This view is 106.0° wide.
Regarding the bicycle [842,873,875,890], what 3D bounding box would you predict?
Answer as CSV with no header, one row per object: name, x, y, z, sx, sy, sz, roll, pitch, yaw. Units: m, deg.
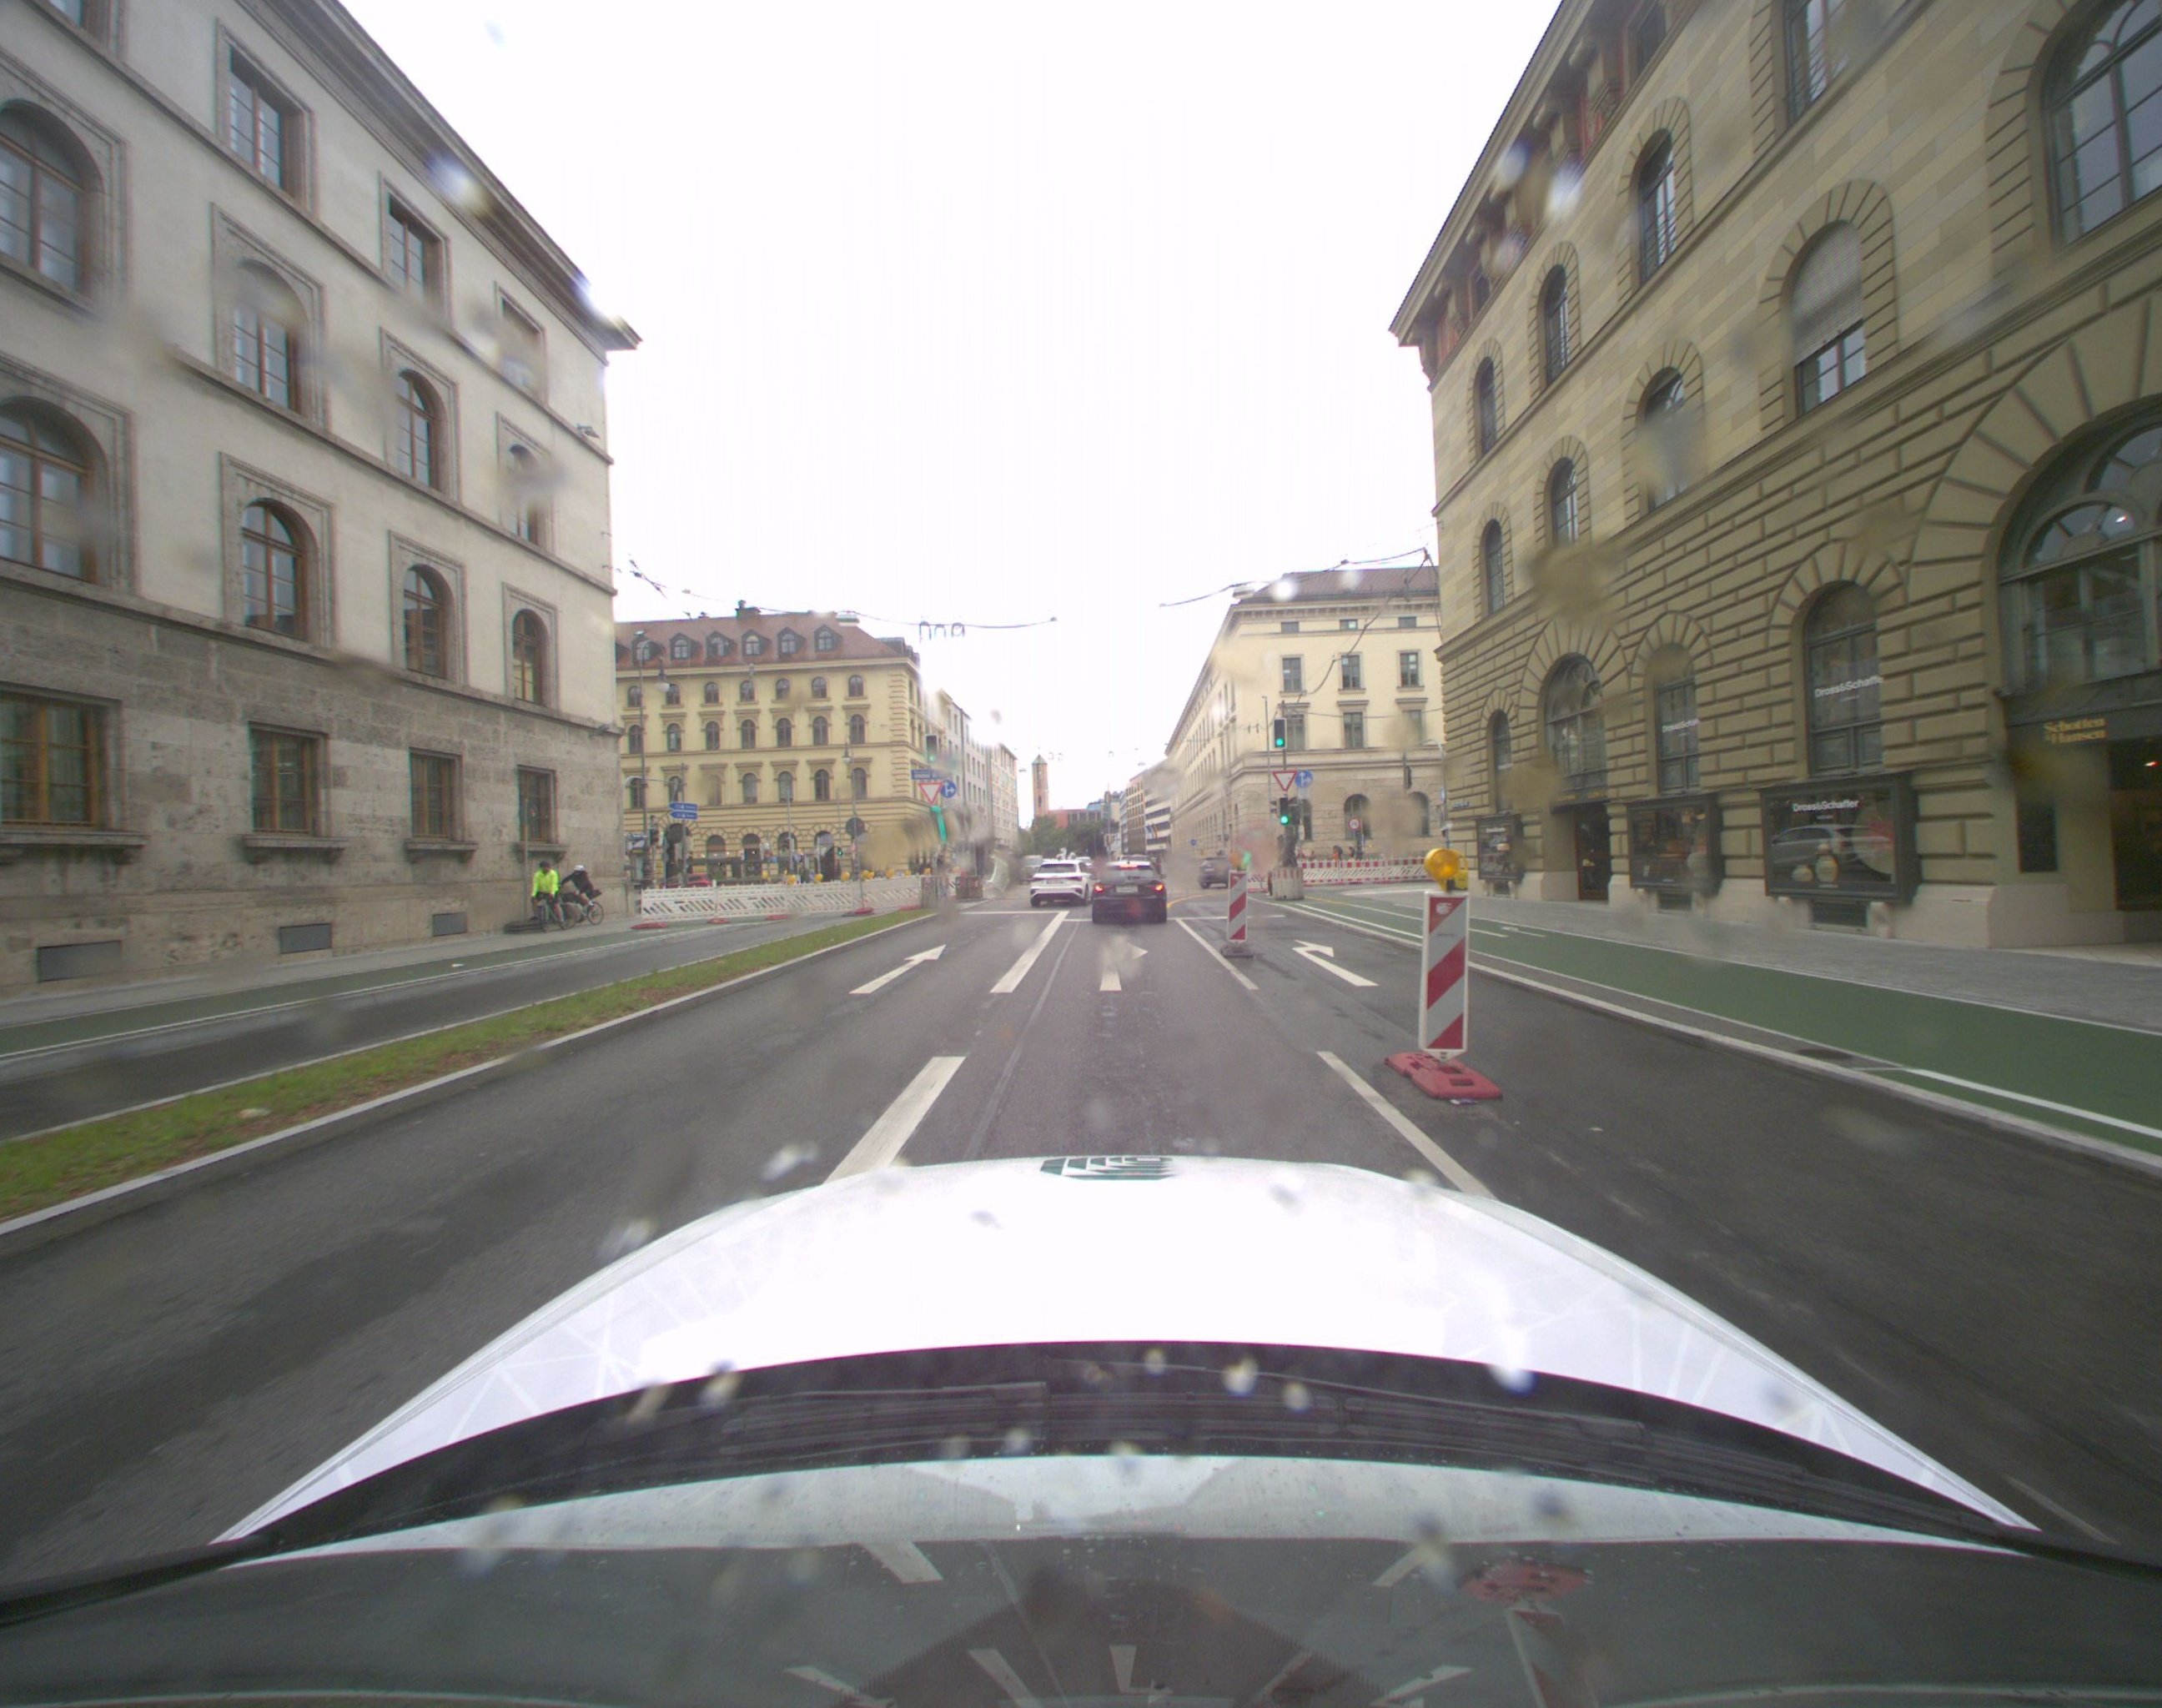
bicycle,-16.033,1.972,58.615,2.201,1.099,0.595,-2,-1,-23

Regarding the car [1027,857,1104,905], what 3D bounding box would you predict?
car,-0.409,0.820,26.604,1.803,1.424,4.462,-1,0,8

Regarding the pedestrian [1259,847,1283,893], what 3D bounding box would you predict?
pedestrian,6.613,0.547,28.357,0.699,1.567,0.585,-1,0,4

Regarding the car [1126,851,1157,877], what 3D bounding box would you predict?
car,4.019,0.666,54.420,1.858,1.601,3.852,-2,0,2

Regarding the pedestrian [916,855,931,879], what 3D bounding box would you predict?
pedestrian,-11.962,1.008,61.821,0.727,1.772,0.765,-1,0,23

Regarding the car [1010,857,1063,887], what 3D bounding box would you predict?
car,-2.785,1.105,52.348,1.980,1.734,4.604,-3,0,15

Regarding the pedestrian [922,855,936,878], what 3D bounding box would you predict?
pedestrian,-11.659,0.979,62.543,0.727,1.772,0.743,-1,0,23

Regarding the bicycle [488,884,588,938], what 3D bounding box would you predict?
bicycle,-14.211,1.453,21.419,0.783,1.242,2.453,-1,0,6

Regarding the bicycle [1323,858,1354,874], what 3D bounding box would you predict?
bicycle,17.717,0.807,56.044,1.949,1.040,0.796,-1,0,4

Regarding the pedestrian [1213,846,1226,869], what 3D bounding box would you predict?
pedestrian,10.478,0.261,61.459,0.811,1.755,0.683,-1,0,18

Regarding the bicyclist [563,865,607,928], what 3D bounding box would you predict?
bicyclist,-14.256,1.205,23.422,0.794,1.776,0.690,-1,0,5

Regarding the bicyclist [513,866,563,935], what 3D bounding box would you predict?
bicyclist,-14.225,1.202,21.352,0.794,1.748,0.690,-1,0,5

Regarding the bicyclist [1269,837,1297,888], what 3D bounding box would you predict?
bicyclist,7.457,0.320,30.066,0.789,1.854,0.571,-1,0,44

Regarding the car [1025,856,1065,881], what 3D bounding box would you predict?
car,-2.601,1.027,59.845,1.781,1.677,4.247,-3,0,12

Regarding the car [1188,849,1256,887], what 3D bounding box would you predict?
car,6.469,0.590,37.058,1.752,1.616,4.025,-1,0,30

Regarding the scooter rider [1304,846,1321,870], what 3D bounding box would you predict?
scooter rider,15.676,0.280,55.137,0.928,1.622,0.593,-1,0,3

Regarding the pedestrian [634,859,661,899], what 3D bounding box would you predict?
pedestrian,-19.645,1.145,36.918,0.731,1.772,0.739,-1,0,16

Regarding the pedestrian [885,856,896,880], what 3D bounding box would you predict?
pedestrian,-14.301,1.027,61.072,0.733,1.772,0.737,-1,0,-8

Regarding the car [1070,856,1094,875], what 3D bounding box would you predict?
car,0.125,0.945,71.543,1.986,1.524,4.234,-3,0,1

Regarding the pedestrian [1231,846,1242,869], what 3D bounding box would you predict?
pedestrian,11.927,0.260,62.506,0.578,1.755,0.825,-1,0,33

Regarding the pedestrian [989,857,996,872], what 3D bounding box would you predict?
pedestrian,-10.632,1.271,97.556,0.734,1.772,0.736,-1,0,1

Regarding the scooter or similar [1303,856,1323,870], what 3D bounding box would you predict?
scooter or similar,15.685,0.615,55.134,1.205,0.965,0.588,-1,0,3

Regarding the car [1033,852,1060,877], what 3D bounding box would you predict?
car,-3.003,0.920,71.587,2.232,2.013,4.447,-2,0,-2

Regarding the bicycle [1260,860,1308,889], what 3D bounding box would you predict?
bicycle,7.485,0.743,30.044,1.636,1.011,0.590,-1,0,44

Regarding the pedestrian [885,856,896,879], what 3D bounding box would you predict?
pedestrian,-14.464,1.021,61.812,0.733,1.772,0.737,-1,0,-8

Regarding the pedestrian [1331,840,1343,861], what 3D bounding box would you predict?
pedestrian,19.439,-0.267,61.875,0.662,1.527,0.820,-1,0,1

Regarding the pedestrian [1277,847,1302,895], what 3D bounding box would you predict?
pedestrian,6.970,0.554,27.261,0.699,1.567,0.682,-1,0,4

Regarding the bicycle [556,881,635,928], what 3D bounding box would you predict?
bicycle,-14.205,1.452,23.915,0.783,1.242,2.203,-1,0,6

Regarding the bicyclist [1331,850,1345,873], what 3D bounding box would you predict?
bicyclist,17.658,0.514,56.053,0.740,1.615,0.796,-1,0,5

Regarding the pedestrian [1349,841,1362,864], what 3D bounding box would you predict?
pedestrian,20.537,-0.129,60.966,0.712,1.694,0.821,-1,0,3

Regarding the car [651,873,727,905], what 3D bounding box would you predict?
car,-24.295,2.143,50.516,3.730,1.798,1.867,-2,0,-2

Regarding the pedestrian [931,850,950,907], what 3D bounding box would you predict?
pedestrian,-4.452,0.764,25.820,0.512,1.743,1.040,-2,0,-8

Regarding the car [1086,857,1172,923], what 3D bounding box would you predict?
car,1.125,0.801,19.874,1.856,1.388,4.002,-1,0,2

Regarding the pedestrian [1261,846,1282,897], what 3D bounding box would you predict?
pedestrian,6.164,0.558,26.359,0.529,1.620,0.674,-1,0,4
